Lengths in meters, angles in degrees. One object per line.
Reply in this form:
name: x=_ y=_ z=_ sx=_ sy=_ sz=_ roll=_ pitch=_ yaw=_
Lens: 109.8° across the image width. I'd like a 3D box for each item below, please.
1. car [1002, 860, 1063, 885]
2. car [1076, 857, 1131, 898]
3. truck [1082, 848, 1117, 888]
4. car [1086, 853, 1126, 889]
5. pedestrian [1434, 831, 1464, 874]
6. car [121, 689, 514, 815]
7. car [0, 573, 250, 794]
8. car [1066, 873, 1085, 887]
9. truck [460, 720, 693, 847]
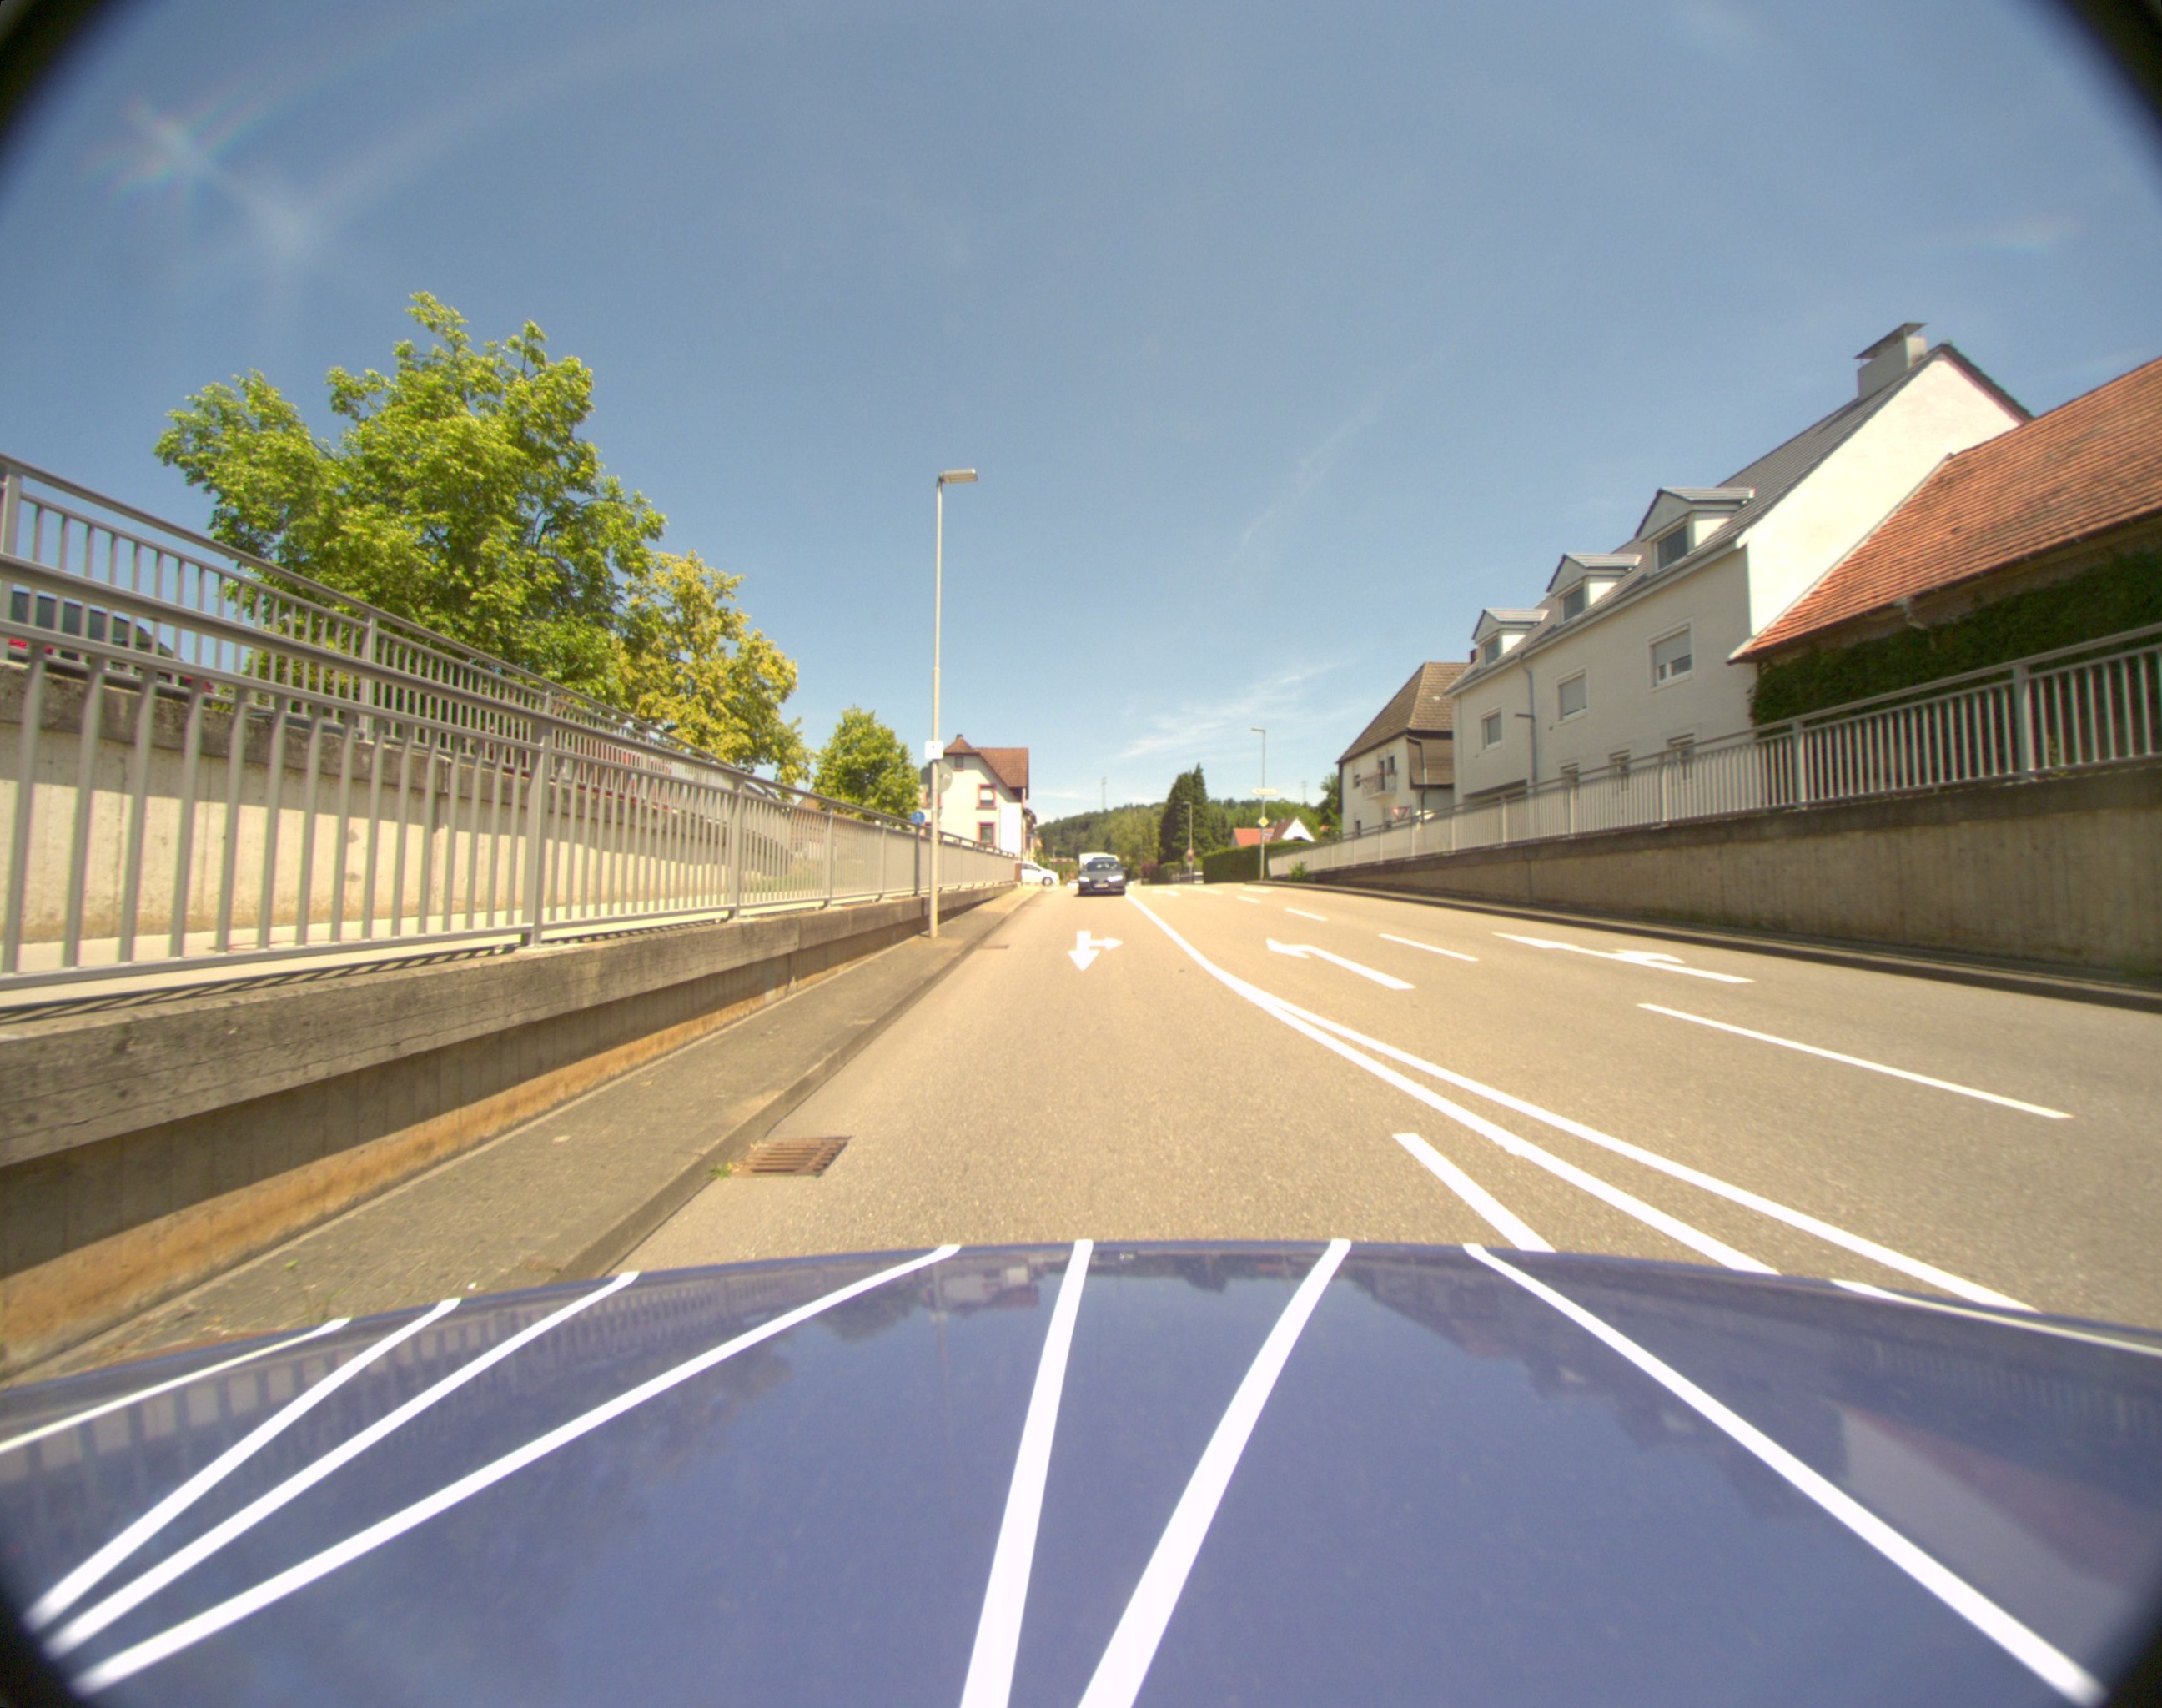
car: x=-2.995 y=1.139 z=47.004 sx=3.681 sy=1.469 sz=1.775 roll=1 pitch=-1 yaw=-5
car: x=0.810 y=0.875 z=29.828 sx=1.864 sy=1.441 sz=3.999 roll=-1 pitch=0 yaw=-2
truck: x=1.681 y=1.436 z=72.907 sx=3.149 sy=3.465 sz=8.276 roll=-1 pitch=-3 yaw=0
car: x=1.476 y=0.958 z=46.020 sx=1.999 sy=2.002 sz=4.546 roll=-2 pitch=1 yaw=-3
pedestrian: x=15.042 y=-0.052 z=31.096 sx=0.729 sy=1.719 sz=0.856 roll=-2 pitch=0 yaw=-3
car: x=-10.948 y=-1.423 z=11.114 sx=3.996 sy=1.489 sz=1.749 roll=0 pitch=-3 yaw=1
car: x=-10.439 y=-1.389 z=6.782 sx=4.215 sy=1.489 sz=1.687 roll=0 pitch=-3 yaw=1
car: x=-0.688 y=3.329 z=96.145 sx=1.998 sy=1.509 sz=4.147 roll=4 pitch=-3 yaw=3
truck: x=-11.834 y=-1.499 z=18.432 sx=2.138 sy=2.319 sz=5.262 roll=-1 pitch=-3 yaw=0
